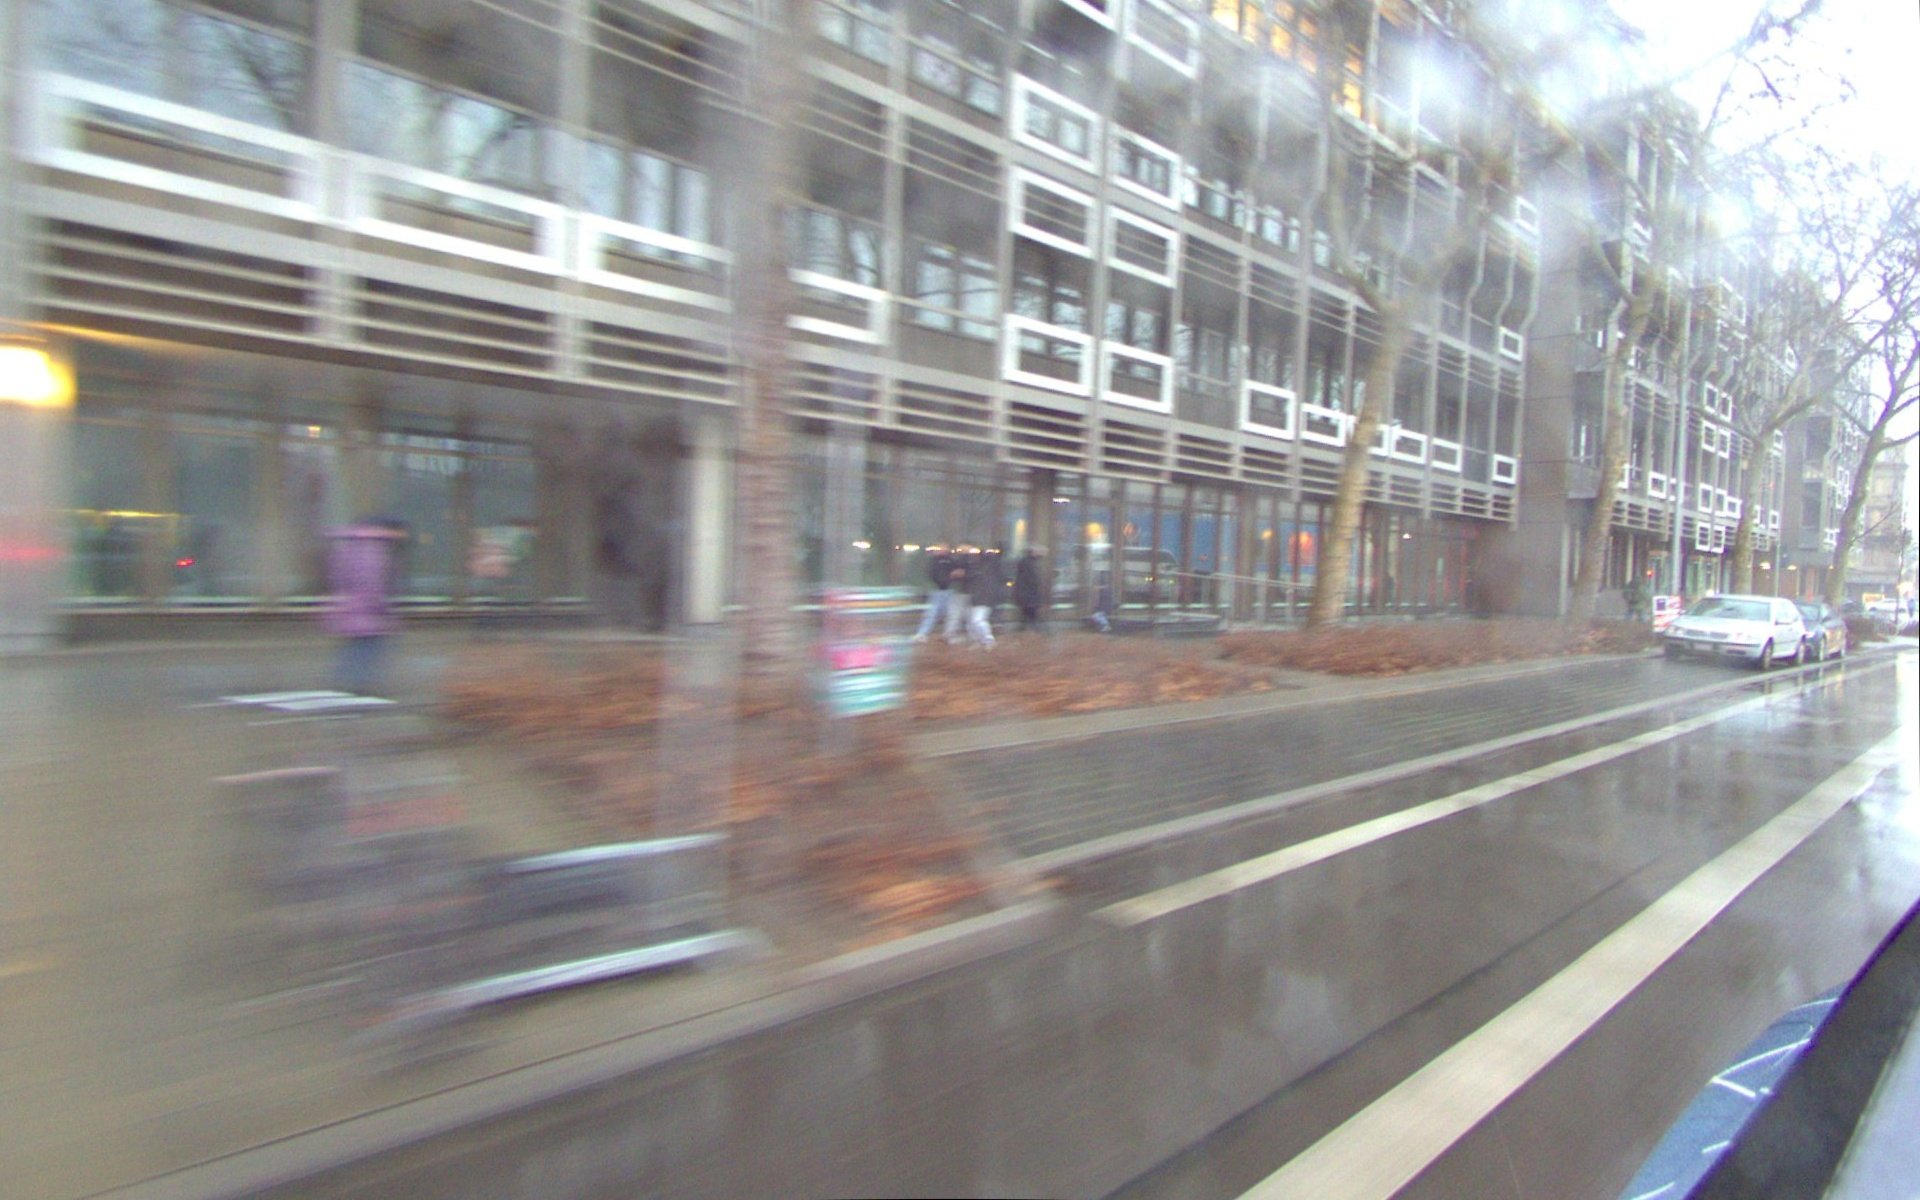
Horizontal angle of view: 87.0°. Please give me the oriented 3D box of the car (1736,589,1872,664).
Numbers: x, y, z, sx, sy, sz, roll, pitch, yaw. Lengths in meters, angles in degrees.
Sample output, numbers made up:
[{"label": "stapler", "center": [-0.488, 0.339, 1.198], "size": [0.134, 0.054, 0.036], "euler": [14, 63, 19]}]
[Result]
[{"label": "car", "center": [20.061, 0.577, 24.010], "size": [3.947, 1.567, 1.764], "euler": [0, 3, -40]}]

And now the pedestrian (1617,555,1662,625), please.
[{"label": "pedestrian", "center": [20.372, -0.306, 30.344], "size": [1.006, 2.038, 0.791], "euler": [1, 2, -40]}]

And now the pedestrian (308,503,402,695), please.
[{"label": "pedestrian", "center": [-5.196, -0.023, 8.684], "size": [0.604, 1.563, 0.650], "euler": [1, 2, -38]}]

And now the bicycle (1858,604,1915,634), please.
[{"label": "bicycle", "center": [34.367, 0.702, 37.550], "size": [1.519, 1.049, 0.462], "euler": [2, 2, 44]}]

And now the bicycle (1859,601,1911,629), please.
[{"label": "bicycle", "center": [37.303, 0.592, 40.806], "size": [1.519, 1.049, 0.462], "euler": [2, 2, 44]}]

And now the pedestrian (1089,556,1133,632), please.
[{"label": "pedestrian", "center": [2.880, -0.120, 19.284], "size": [0.705, 1.406, 0.561], "euler": [2, 2, 15]}]

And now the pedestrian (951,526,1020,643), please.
[{"label": "pedestrian", "center": [0.382, -0.230, 15.052], "size": [0.857, 1.688, 0.501], "euler": [0, 2, -39]}]

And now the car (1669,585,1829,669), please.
[{"label": "car", "center": [16.343, 0.495, 20.919], "size": [3.858, 1.449, 1.610], "euler": [0, 5, -38]}]

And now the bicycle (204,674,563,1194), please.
[{"label": "bicycle", "center": [-1.951, 0.867, 3.280], "size": [0.607, 0.985, 1.790], "euler": [0, 4, -43]}]

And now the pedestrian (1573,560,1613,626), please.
[{"label": "pedestrian", "center": [20.316, -0.230, 32.490], "size": [0.723, 2.038, 0.822], "euler": [1, 2, -41]}]

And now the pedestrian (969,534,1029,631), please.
[{"label": "pedestrian", "center": [0.697, -0.324, 18.087], "size": [0.829, 1.675, 0.640], "euler": [0, 3, -44]}]

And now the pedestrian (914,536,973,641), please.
[{"label": "pedestrian", "center": [-0.252, -0.186, 15.815], "size": [0.732, 1.583, 0.484], "euler": [0, 2, -40]}]

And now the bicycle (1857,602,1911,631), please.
[{"label": "bicycle", "center": [36.176, 0.636, 39.633], "size": [1.519, 1.049, 0.462], "euler": [2, 2, 44]}]

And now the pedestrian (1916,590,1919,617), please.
[{"label": "pedestrian", "center": [74.996, 0.273, 78.695], "size": [0.758, 2.039, 0.838], "euler": [0, 1, -40]}]

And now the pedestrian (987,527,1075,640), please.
[{"label": "pedestrian", "center": [0.994, -0.245, 14.295], "size": [0.823, 1.542, 0.866], "euler": [0, 2, -39]}]

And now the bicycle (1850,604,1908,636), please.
[{"label": "bicycle", "center": [33.086, 0.710, 36.444], "size": [1.519, 1.049, 0.462], "euler": [2, 2, 44]}]

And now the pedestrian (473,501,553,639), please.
[{"label": "pedestrian", "center": [-5.654, -0.383, 12.789], "size": [0.766, 1.676, 0.617], "euler": [1, 2, -39]}]

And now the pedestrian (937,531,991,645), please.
[{"label": "pedestrian", "center": [0.059, -0.190, 15.438], "size": [0.700, 1.688, 0.379], "euler": [0, 2, -39]}]

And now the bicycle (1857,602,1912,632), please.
[{"label": "bicycle", "center": [35.213, 0.644, 38.554], "size": [1.519, 1.049, 0.462], "euler": [2, 2, 44]}]

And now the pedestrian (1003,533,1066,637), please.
[{"label": "pedestrian", "center": [1.287, -0.266, 17.496], "size": [0.829, 1.739, 0.659], "euler": [0, 2, -44]}]
